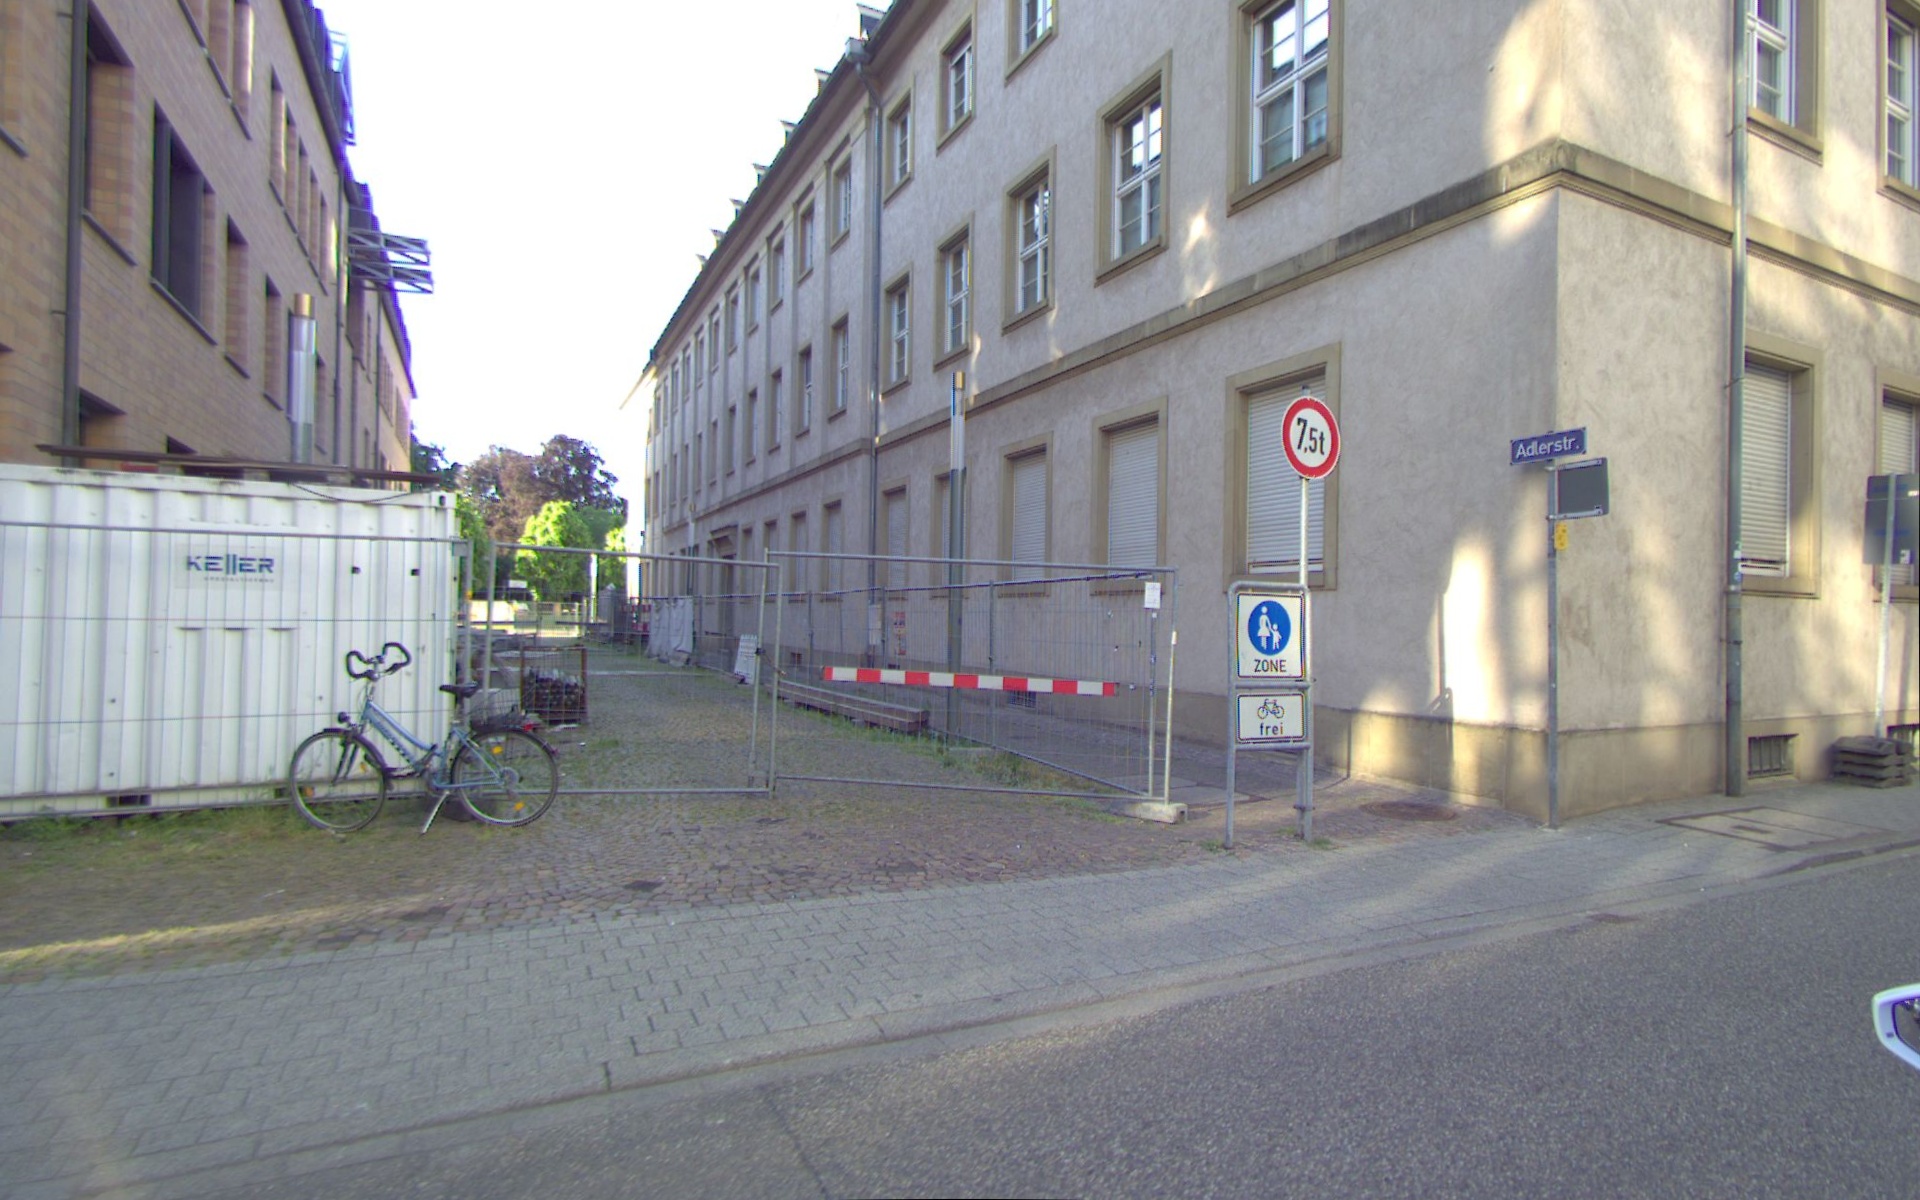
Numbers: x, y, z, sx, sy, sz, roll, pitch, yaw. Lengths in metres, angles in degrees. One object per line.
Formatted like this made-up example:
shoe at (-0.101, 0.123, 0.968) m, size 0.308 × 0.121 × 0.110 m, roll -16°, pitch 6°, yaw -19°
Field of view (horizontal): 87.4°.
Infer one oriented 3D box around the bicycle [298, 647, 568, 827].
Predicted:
bicycle at (-3.556, 0.919, 6.848) m, size 1.561 × 1.159 × 0.431 m, roll 1°, pitch 0°, yaw -5°
